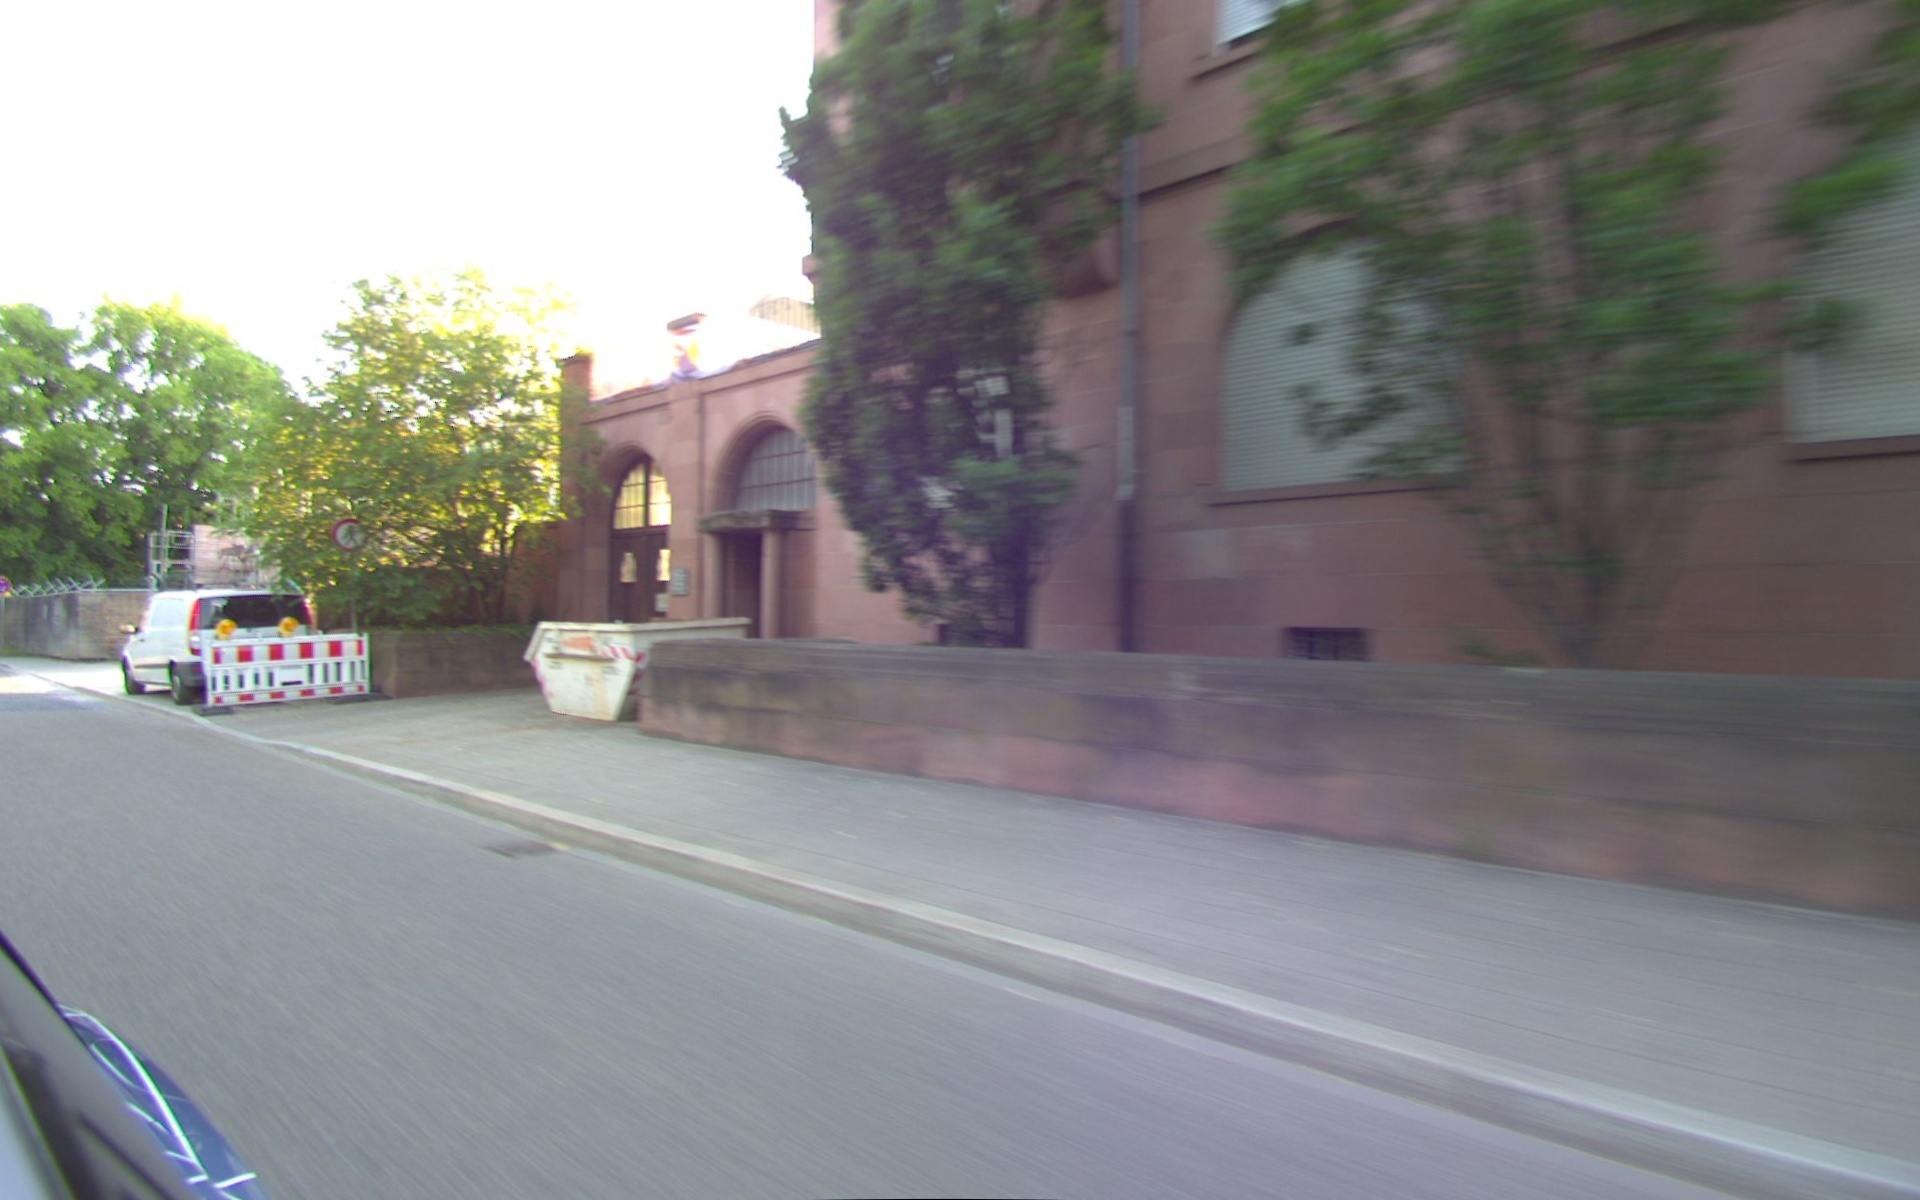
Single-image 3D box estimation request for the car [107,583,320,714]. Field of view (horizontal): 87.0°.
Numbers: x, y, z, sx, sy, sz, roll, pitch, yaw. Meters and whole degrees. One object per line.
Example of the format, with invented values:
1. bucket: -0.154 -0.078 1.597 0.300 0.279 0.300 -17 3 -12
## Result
1. car: -13.527 0.773 18.205 5.221 2.029 1.864 -1 1 40
